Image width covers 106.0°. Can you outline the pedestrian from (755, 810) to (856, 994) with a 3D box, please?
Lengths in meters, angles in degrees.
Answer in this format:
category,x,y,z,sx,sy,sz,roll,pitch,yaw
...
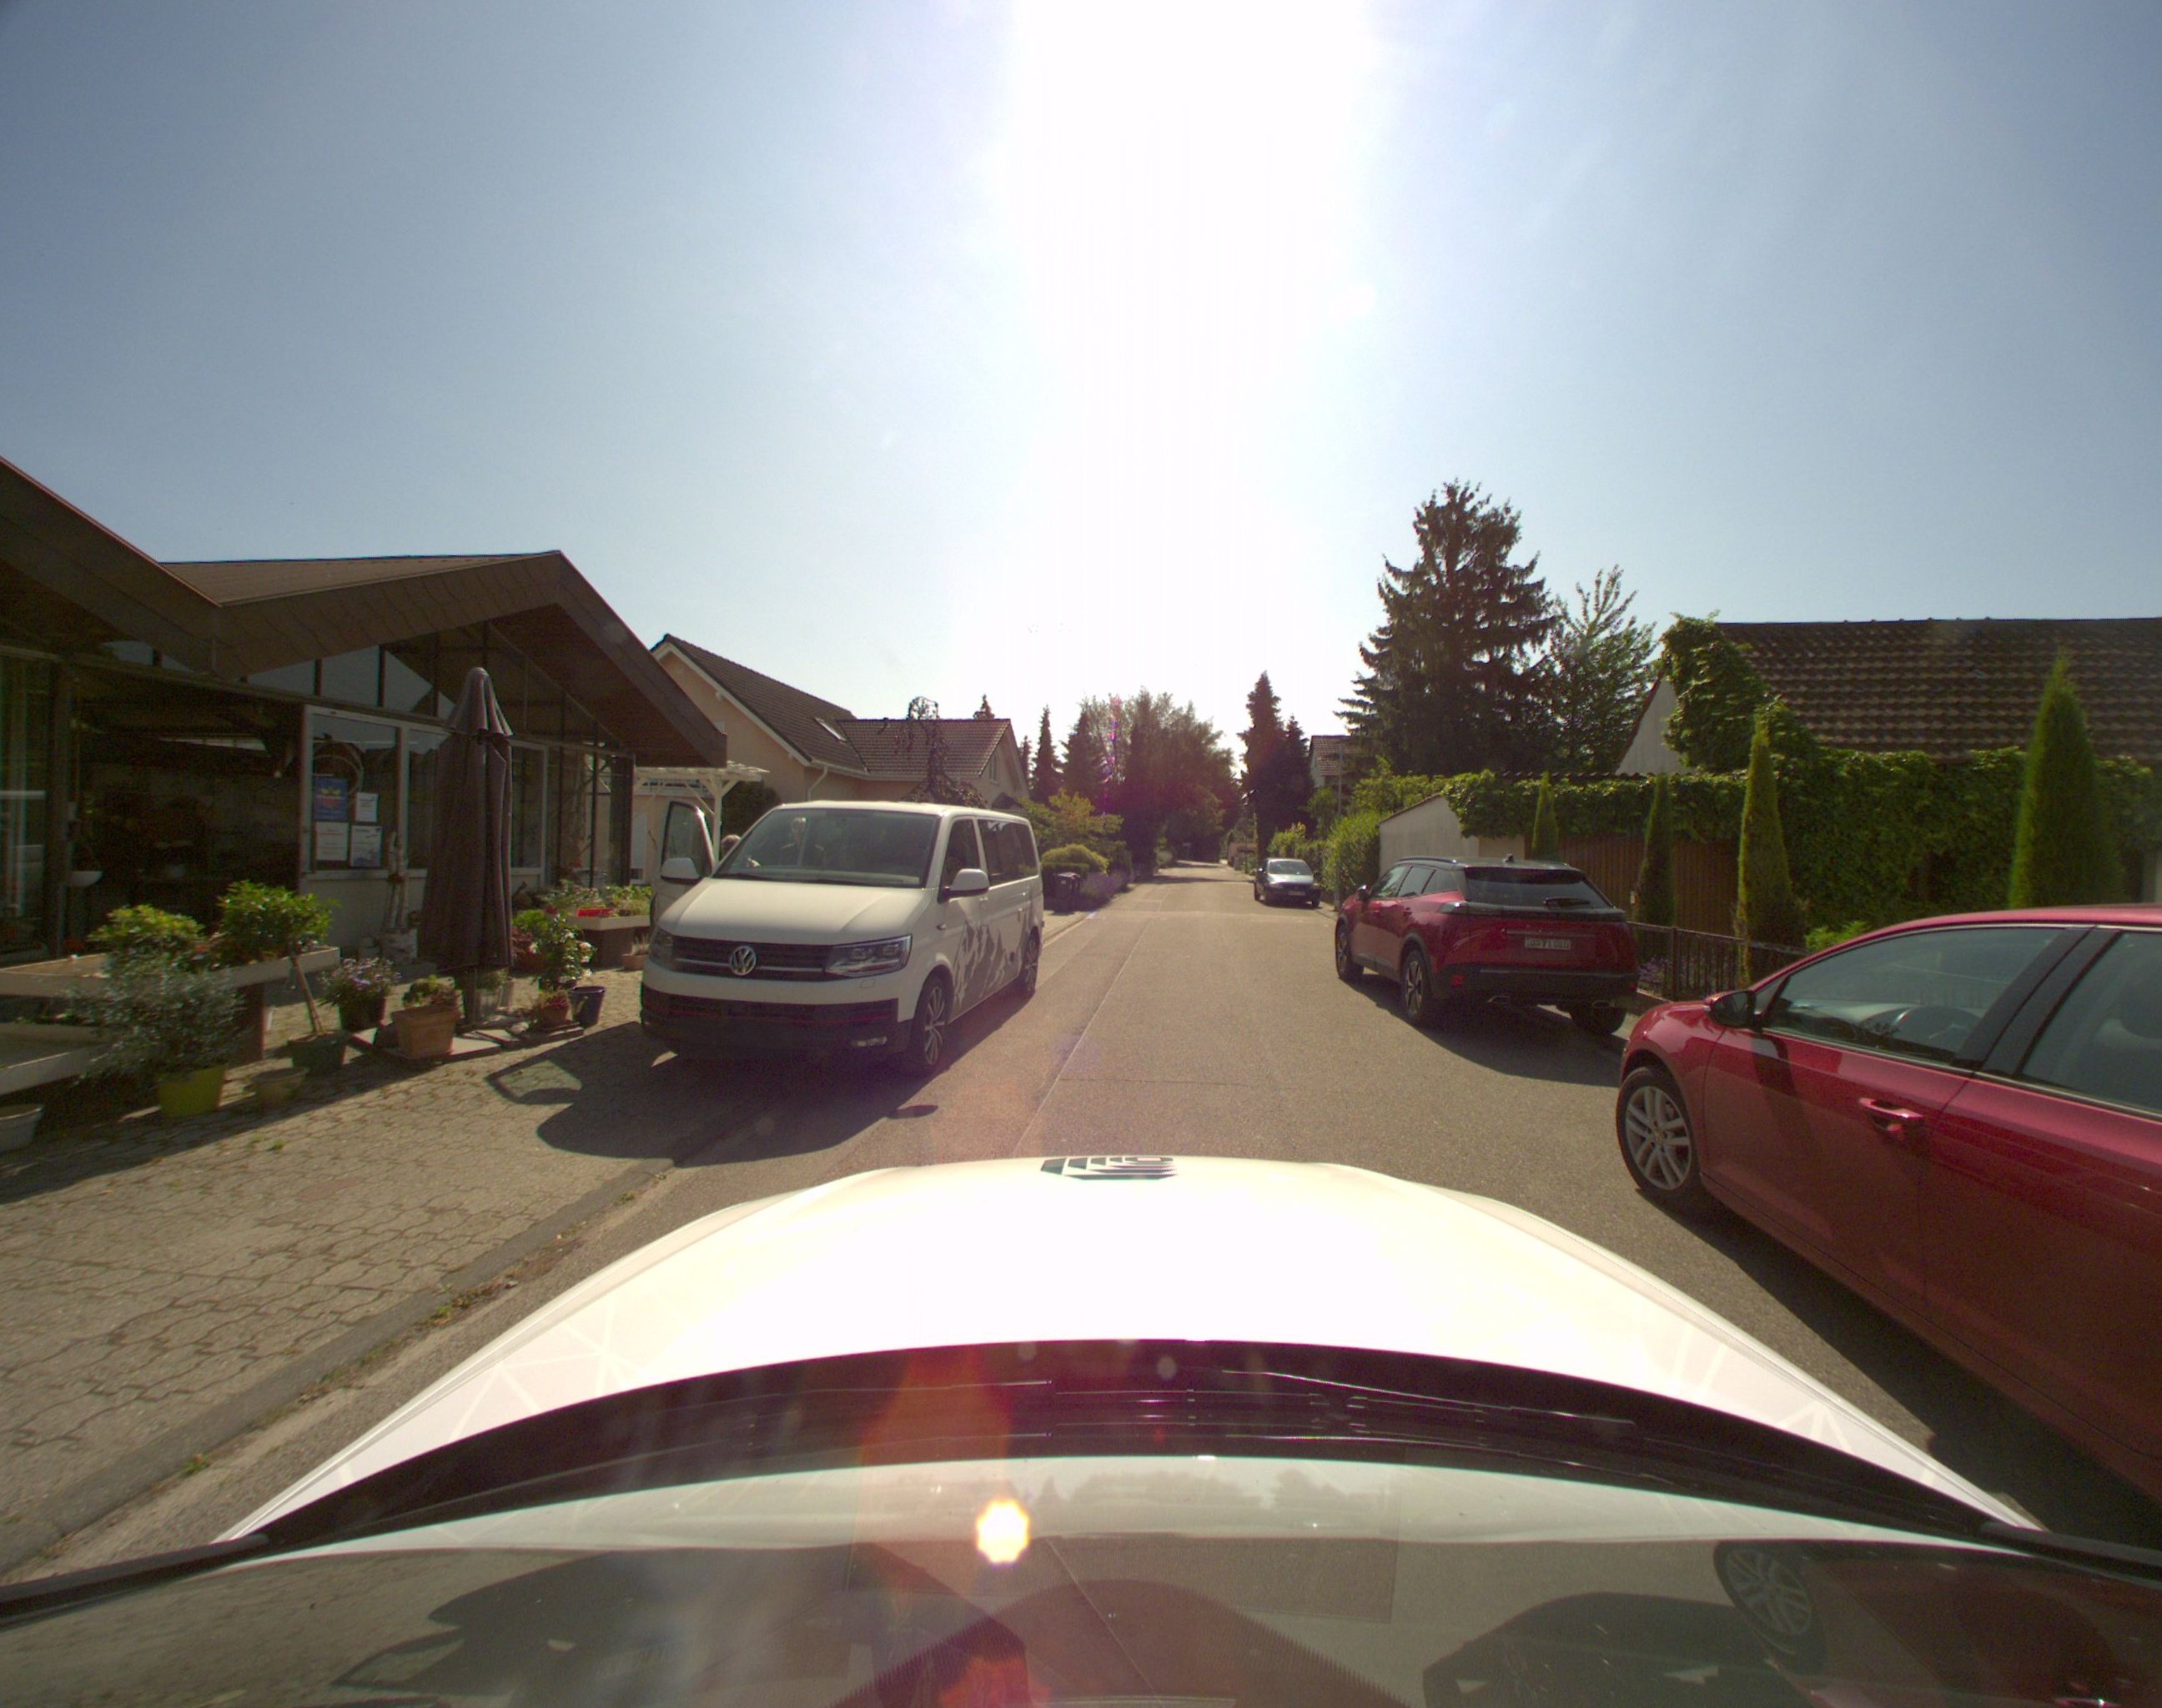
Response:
category,x,y,z,sx,sy,sz,roll,pitch,yaw
pedestrian,-2.753,0.441,8.137,0.683,1.731,0.646,2,1,38

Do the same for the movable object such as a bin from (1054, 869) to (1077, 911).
category,x,y,z,sx,sy,sz,roll,pitch,yaw
movable object such as a bin,-0.396,0.902,20.411,0.491,1.024,0.448,1,0,8

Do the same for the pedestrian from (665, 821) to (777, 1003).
category,x,y,z,sx,sy,sz,roll,pitch,yaw
pedestrian,-3.275,0.489,7.407,0.710,1.538,0.646,2,1,41

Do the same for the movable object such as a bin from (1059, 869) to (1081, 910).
category,x,y,z,sx,sy,sz,roll,pitch,yaw
movable object such as a bin,-0.278,0.897,20.863,0.491,1.024,0.448,1,0,8

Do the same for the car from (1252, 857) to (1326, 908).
category,x,y,z,sx,sy,sz,roll,pitch,yaw
car,6.470,0.836,25.697,1.693,1.399,4.007,2,0,7

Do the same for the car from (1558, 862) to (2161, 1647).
category,x,y,z,sx,sy,sz,roll,pitch,yaw
car,3.164,0.825,2.394,1.764,1.479,4.012,3,0,11

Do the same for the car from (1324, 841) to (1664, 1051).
category,x,y,z,sx,sy,sz,roll,pitch,yaw
car,3.936,0.738,8.609,1.814,1.615,4.006,2,0,5

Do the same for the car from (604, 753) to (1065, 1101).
category,x,y,z,sx,sy,sz,roll,pitch,yaw
car,-1.570,0.410,7.317,1.917,2.013,4.909,2,0,9
